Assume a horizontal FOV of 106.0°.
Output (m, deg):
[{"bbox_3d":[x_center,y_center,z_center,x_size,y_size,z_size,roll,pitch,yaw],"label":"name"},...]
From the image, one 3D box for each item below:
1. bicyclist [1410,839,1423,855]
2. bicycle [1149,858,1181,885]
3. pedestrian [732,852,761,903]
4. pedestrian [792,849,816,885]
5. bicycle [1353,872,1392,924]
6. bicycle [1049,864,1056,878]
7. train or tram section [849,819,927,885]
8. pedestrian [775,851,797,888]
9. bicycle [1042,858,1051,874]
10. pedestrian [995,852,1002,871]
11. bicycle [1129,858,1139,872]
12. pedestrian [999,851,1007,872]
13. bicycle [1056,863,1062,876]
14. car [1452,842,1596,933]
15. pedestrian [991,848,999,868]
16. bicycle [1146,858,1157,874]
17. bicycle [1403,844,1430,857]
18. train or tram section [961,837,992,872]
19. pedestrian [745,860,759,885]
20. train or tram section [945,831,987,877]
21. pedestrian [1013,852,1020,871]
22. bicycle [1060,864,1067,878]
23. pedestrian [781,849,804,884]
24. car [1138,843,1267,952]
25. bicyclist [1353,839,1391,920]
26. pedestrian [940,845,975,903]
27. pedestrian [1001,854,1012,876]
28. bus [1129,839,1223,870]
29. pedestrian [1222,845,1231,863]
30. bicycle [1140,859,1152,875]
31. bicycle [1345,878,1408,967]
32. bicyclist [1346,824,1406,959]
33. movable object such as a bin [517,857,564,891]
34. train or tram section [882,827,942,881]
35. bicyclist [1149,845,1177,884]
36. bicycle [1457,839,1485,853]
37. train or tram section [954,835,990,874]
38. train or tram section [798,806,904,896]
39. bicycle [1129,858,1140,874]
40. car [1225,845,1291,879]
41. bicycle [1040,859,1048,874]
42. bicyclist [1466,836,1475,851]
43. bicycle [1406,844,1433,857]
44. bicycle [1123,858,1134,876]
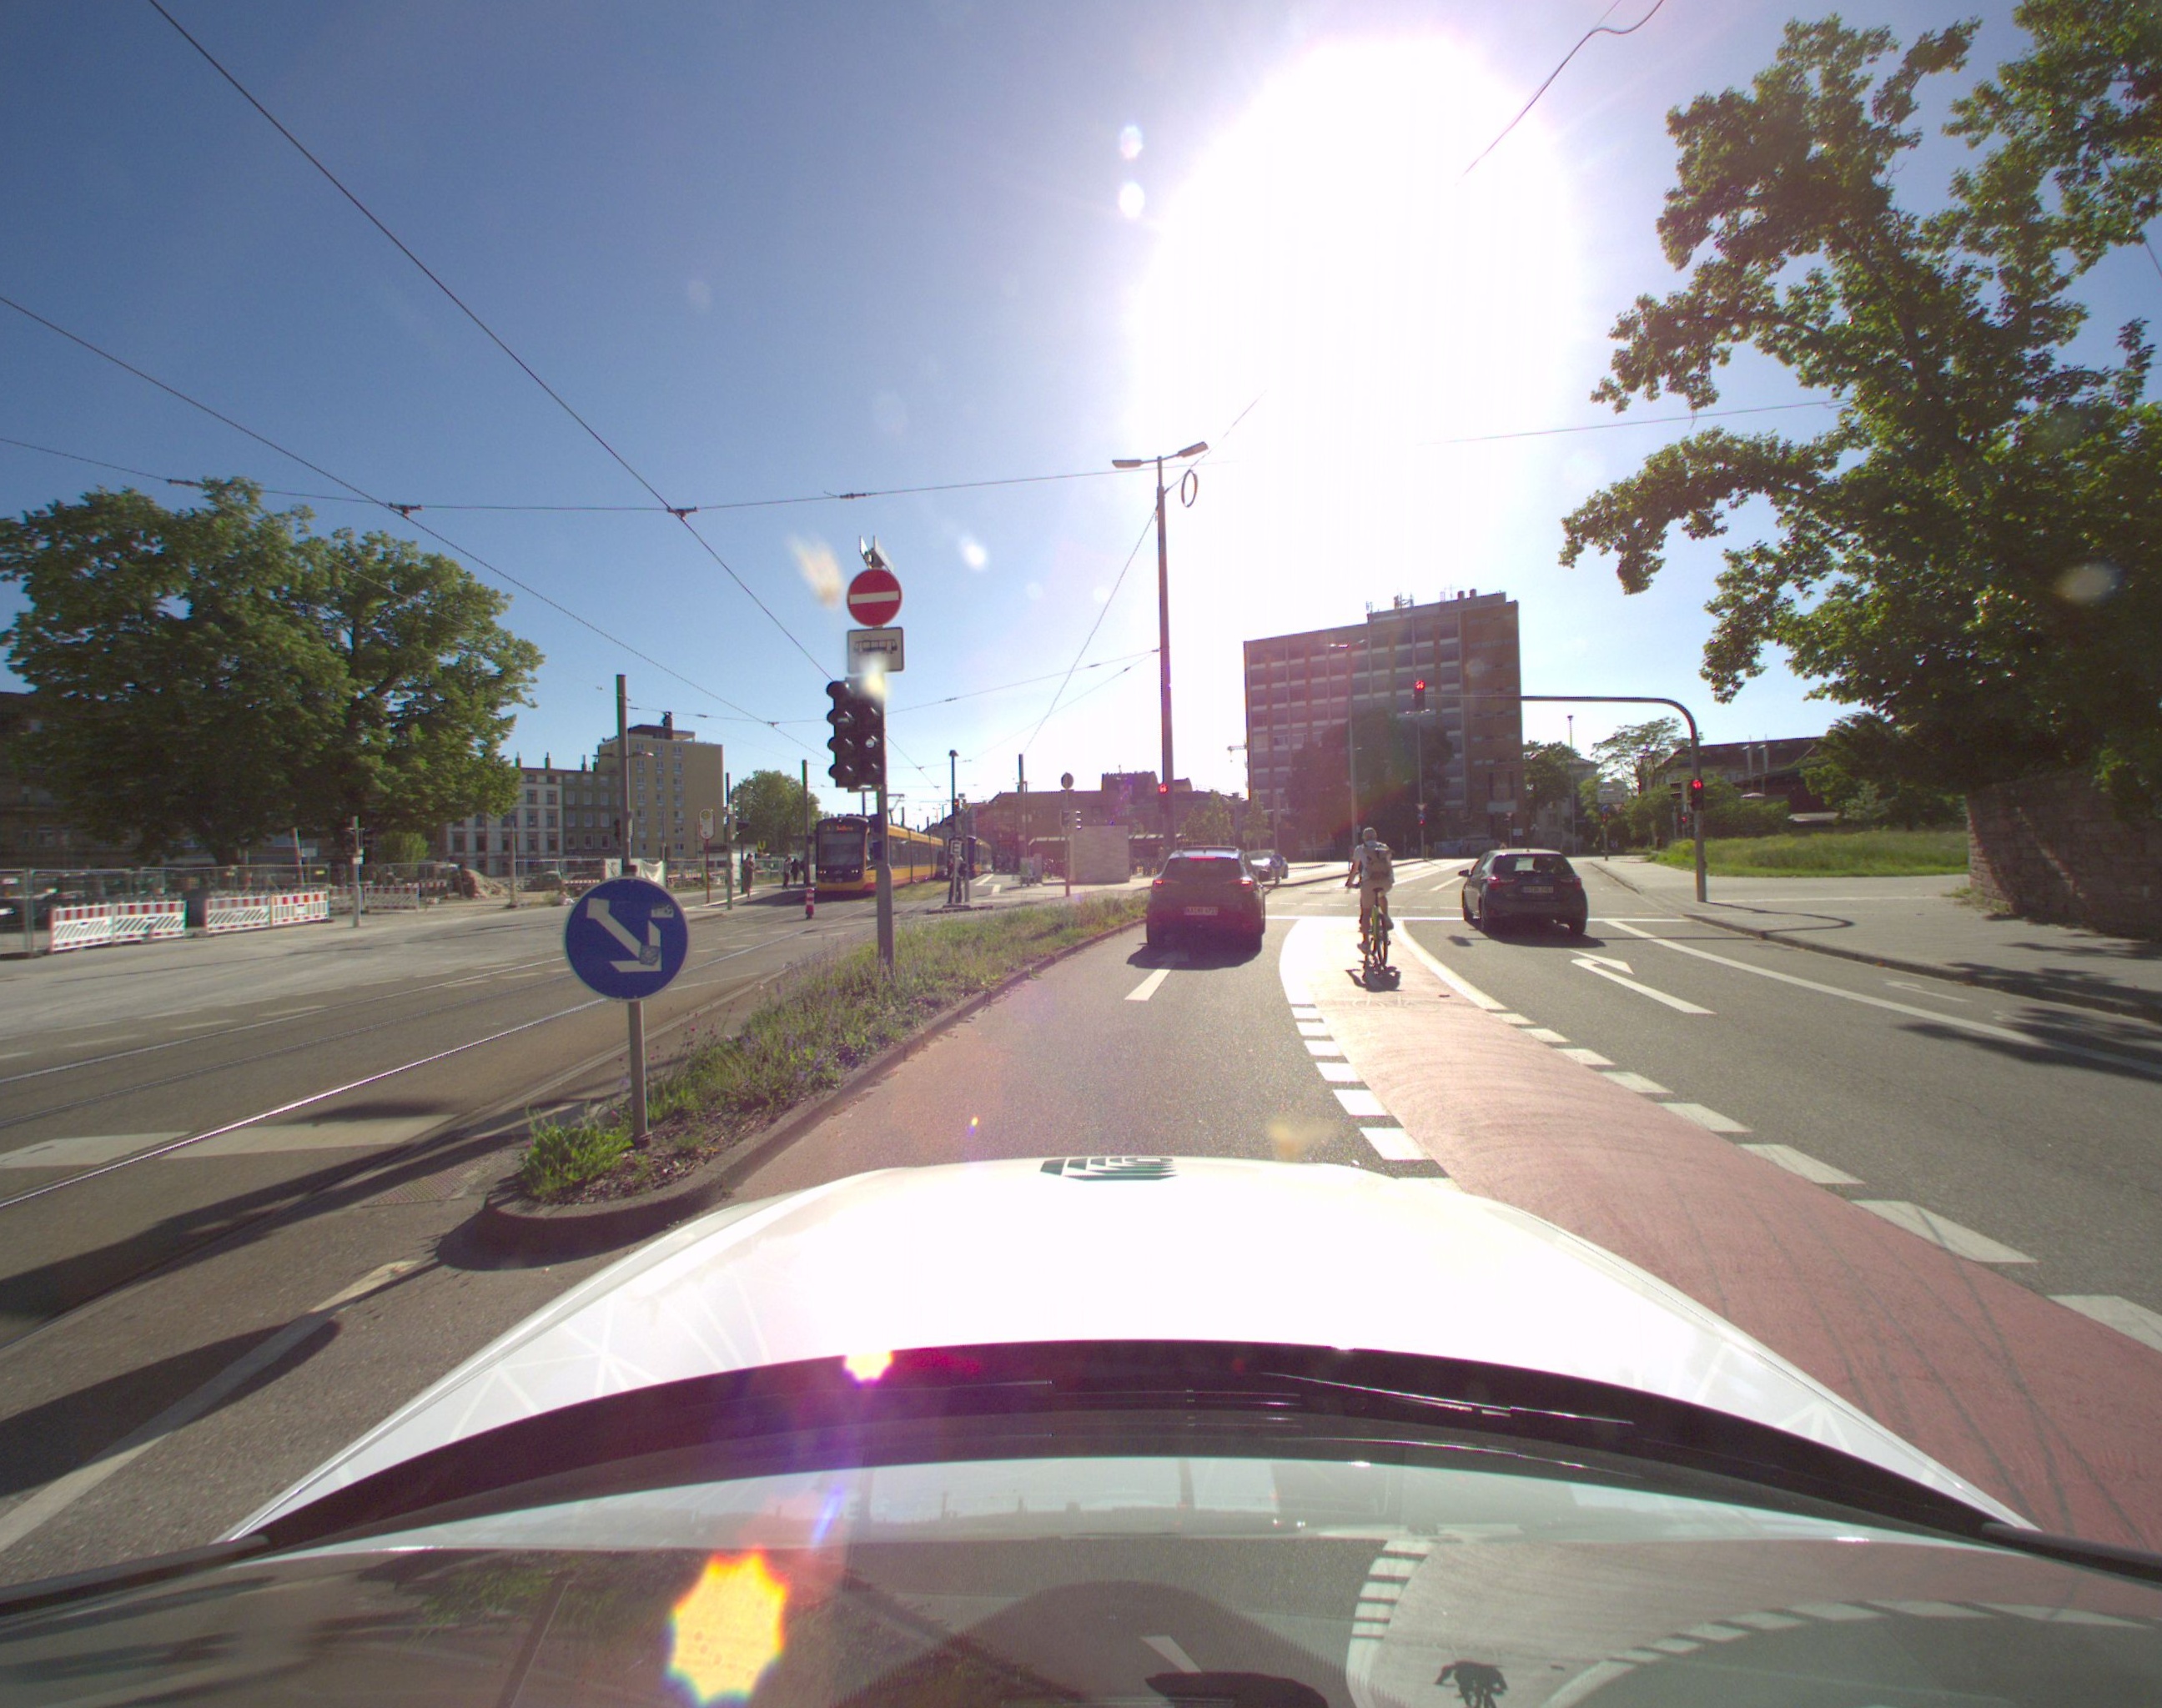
[{"bbox_3d":[39.719,-0.791,96.461,1.195,1.897,0.890,-1,-2,34],"label":"bicyclist"},{"bbox_3d":[3.666,0.740,35.367,0.766,1.080,2.047,-2,-1,23],"label":"bicycle"},{"bbox_3d":[-12.783,0.892,31.166,0.761,1.850,0.900,-2,2,-7],"label":"pedestrian"},{"bbox_3d":[-15.772,0.753,46.381,0.957,2.014,0.999,0,-1,1],"label":"pedestrian"},{"bbox_3d":[6.025,0.879,16.896,0.716,0.960,1.893,0,0,19],"label":"bicycle"},{"bbox_3d":[-1.980,1.144,56.067,0.421,0.938,1.303,0,0,-6],"label":"bicycle"},{"bbox_3d":[-11.202,-0.087,48.268,2.811,3.508,10.594,-1,0,-4],"label":"train or tram section"},{"bbox_3d":[-14.665,0.777,40.466,0.867,1.767,0.965,-2,0,-26],"label":"pedestrian"},{"bbox_3d":[-2.309,0.815,54.375,0.564,1.093,2.027,0,-1,-2],"label":"bicycle"},{"bbox_3d":[-8.223,0.766,80.806,0.630,1.857,0.703,0,-1,0],"label":"pedestrian"},{"bbox_3d":[4.144,0.852,63.832,0.579,1.088,1.870,0,-1,-2],"label":"bicycle"},{"bbox_3d":[-7.166,0.688,74.817,0.632,1.857,0.700,0,-1,-10],"label":"pedestrian"},{"bbox_3d":[-1.662,1.168,61.108,0.420,0.938,1.377,0,0,-2],"label":"bicycle"},{"bbox_3d":[8.383,0.567,15.729,1.742,1.541,3.675,-1,0,17],"label":"car"},{"bbox_3d":[-8.187,0.380,77.191,0.739,1.918,0.740,0,-1,-6],"label":"pedestrian"},{"bbox_3d":[4.894,0.813,56.226,0.578,1.088,2.058,0,-1,0],"label":"bicycle"},{"bbox_3d":[39.720,-0.426,96.469,2.774,1.541,0.890,-1,-2,34],"label":"bicycle"},{"bbox_3d":[-11.390,0.058,89.719,2.866,3.508,10.523,-1,0,-5],"label":"train or tram section"},{"bbox_3d":[-23.467,1.301,58.125,0.666,1.767,0.798,-2,0,-6],"label":"pedestrian"},{"bbox_3d":[-9.576,0.018,68.829,2.866,3.508,10.523,-1,0,-5],"label":"train or tram section"},{"bbox_3d":[-6.455,0.746,81.511,0.739,1.918,0.740,0,-1,-8],"label":"pedestrian"},{"bbox_3d":[-1.199,1.143,56.292,0.421,0.938,1.303,0,0,-6],"label":"bicycle"},{"bbox_3d":[-16.812,0.751,47.502,0.957,2.014,0.999,0,-1,1],"label":"pedestrian"},{"bbox_3d":[2.211,0.639,13.991,1.810,1.600,3.673,0,0,14],"label":"car"},{"bbox_3d":[6.013,0.505,16.870,0.715,1.626,1.060,0,0,19],"label":"bicyclist"},{"bbox_3d":[-3.994,0.645,26.292,1.018,1.832,0.756,0,-1,-16],"label":"pedestrian"},{"bbox_3d":[-6.462,0.955,70.609,0.846,1.883,0.759,0,-1,-7],"label":"pedestrian"},{"bbox_3d":[11.009,0.108,96.567,2.898,3.396,12.297,1,-2,-41],"label":"bus"},{"bbox_3d":[15.012,0.002,83.974,0.723,1.857,0.702,0,-1,-2],"label":"pedestrian"},{"bbox_3d":[4.002,0.818,50.550,0.578,0.961,2.058,0,-1,0],"label":"bicycle"},{"bbox_3d":[4.034,0.896,11.233,0.658,1.047,1.898,-1,0,16],"label":"bicycle"},{"bbox_3d":[4.012,0.487,11.138,0.659,1.747,1.010,-1,0,15],"label":"bicyclist"},{"bbox_3d":[-45.632,1.709,68.771,3.948,2.796,1.845,-1,-2,33],"label":"movable object such as a bin"},{"bbox_3d":[-12.038,0.029,59.064,2.811,3.508,11.192,-1,0,-4],"label":"train or tram section"},{"bbox_3d":[3.583,0.462,35.329,0.872,1.644,1.066,-2,-1,23],"label":"bicyclist"},{"bbox_3d":[45.233,-0.933,94.547,2.774,1.541,0.890,-1,-2,34],"label":"bicycle"},{"bbox_3d":[-10.507,0.073,79.287,2.866,3.508,10.523,-1,0,-5],"label":"train or tram section"},{"bbox_3d":[-10.316,-0.091,37.781,2.813,3.508,10.458,-2,0,-6],"label":"train or tram section"},{"bbox_3d":[3.692,0.824,56.328,0.578,1.088,2.058,0,-1,0],"label":"bicycle"},{"bbox_3d":[8.082,0.322,36.850,1.783,1.393,4.118,-2,0,28],"label":"car"},{"bbox_3d":[-2.741,0.948,60.827,0.564,1.093,2.027,0,-1,-2],"label":"bicycle"},{"bbox_3d":[45.227,-1.173,94.536,0.850,1.692,0.890,-1,-2,34],"label":"bicyclist"},{"bbox_3d":[40.765,-0.400,98.116,2.774,1.541,0.890,-1,-2,34],"label":"bicycle"},{"bbox_3d":[2.941,0.822,50.324,0.578,1.058,1.816,0,-1,0],"label":"bicycle"}]
